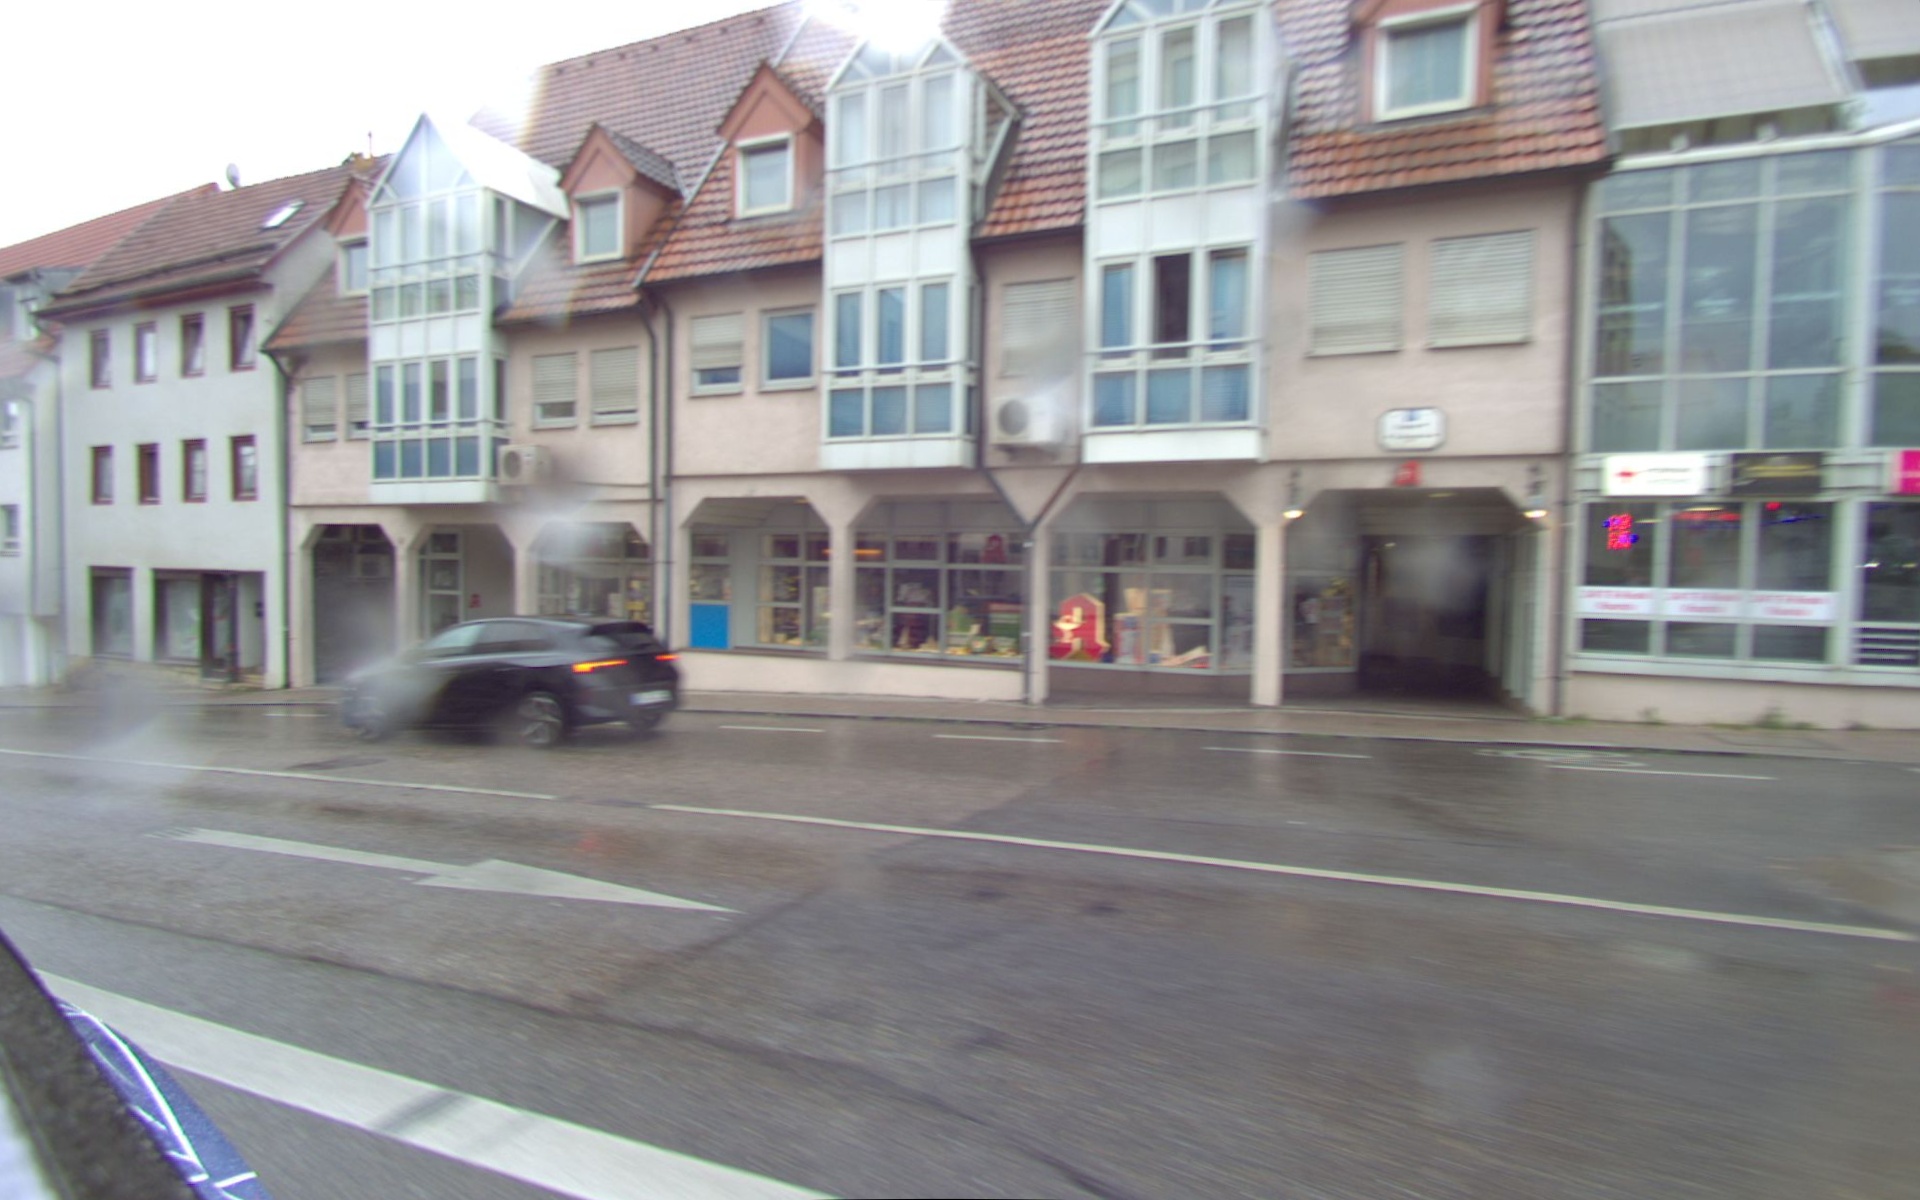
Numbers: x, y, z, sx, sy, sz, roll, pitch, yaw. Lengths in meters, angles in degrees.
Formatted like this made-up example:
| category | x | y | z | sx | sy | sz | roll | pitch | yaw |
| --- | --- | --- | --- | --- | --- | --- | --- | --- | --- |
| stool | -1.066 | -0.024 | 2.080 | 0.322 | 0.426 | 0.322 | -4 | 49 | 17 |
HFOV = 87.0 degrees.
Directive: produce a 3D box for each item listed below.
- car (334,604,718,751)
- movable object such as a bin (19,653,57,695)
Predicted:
| category | x | y | z | sx | sy | sz | roll | pitch | yaw |
| --- | --- | --- | --- | --- | --- | --- | --- | --- | --- |
| car | -5.035 | 0.859 | 11.783 | 3.973 | 1.478 | 1.879 | -2 | -2 | 22 |
| movable object such as a bin | -23.749 | 1.899 | 26.065 | 0.582 | 1.014 | 0.505 | -3 | 0 | 26 |
